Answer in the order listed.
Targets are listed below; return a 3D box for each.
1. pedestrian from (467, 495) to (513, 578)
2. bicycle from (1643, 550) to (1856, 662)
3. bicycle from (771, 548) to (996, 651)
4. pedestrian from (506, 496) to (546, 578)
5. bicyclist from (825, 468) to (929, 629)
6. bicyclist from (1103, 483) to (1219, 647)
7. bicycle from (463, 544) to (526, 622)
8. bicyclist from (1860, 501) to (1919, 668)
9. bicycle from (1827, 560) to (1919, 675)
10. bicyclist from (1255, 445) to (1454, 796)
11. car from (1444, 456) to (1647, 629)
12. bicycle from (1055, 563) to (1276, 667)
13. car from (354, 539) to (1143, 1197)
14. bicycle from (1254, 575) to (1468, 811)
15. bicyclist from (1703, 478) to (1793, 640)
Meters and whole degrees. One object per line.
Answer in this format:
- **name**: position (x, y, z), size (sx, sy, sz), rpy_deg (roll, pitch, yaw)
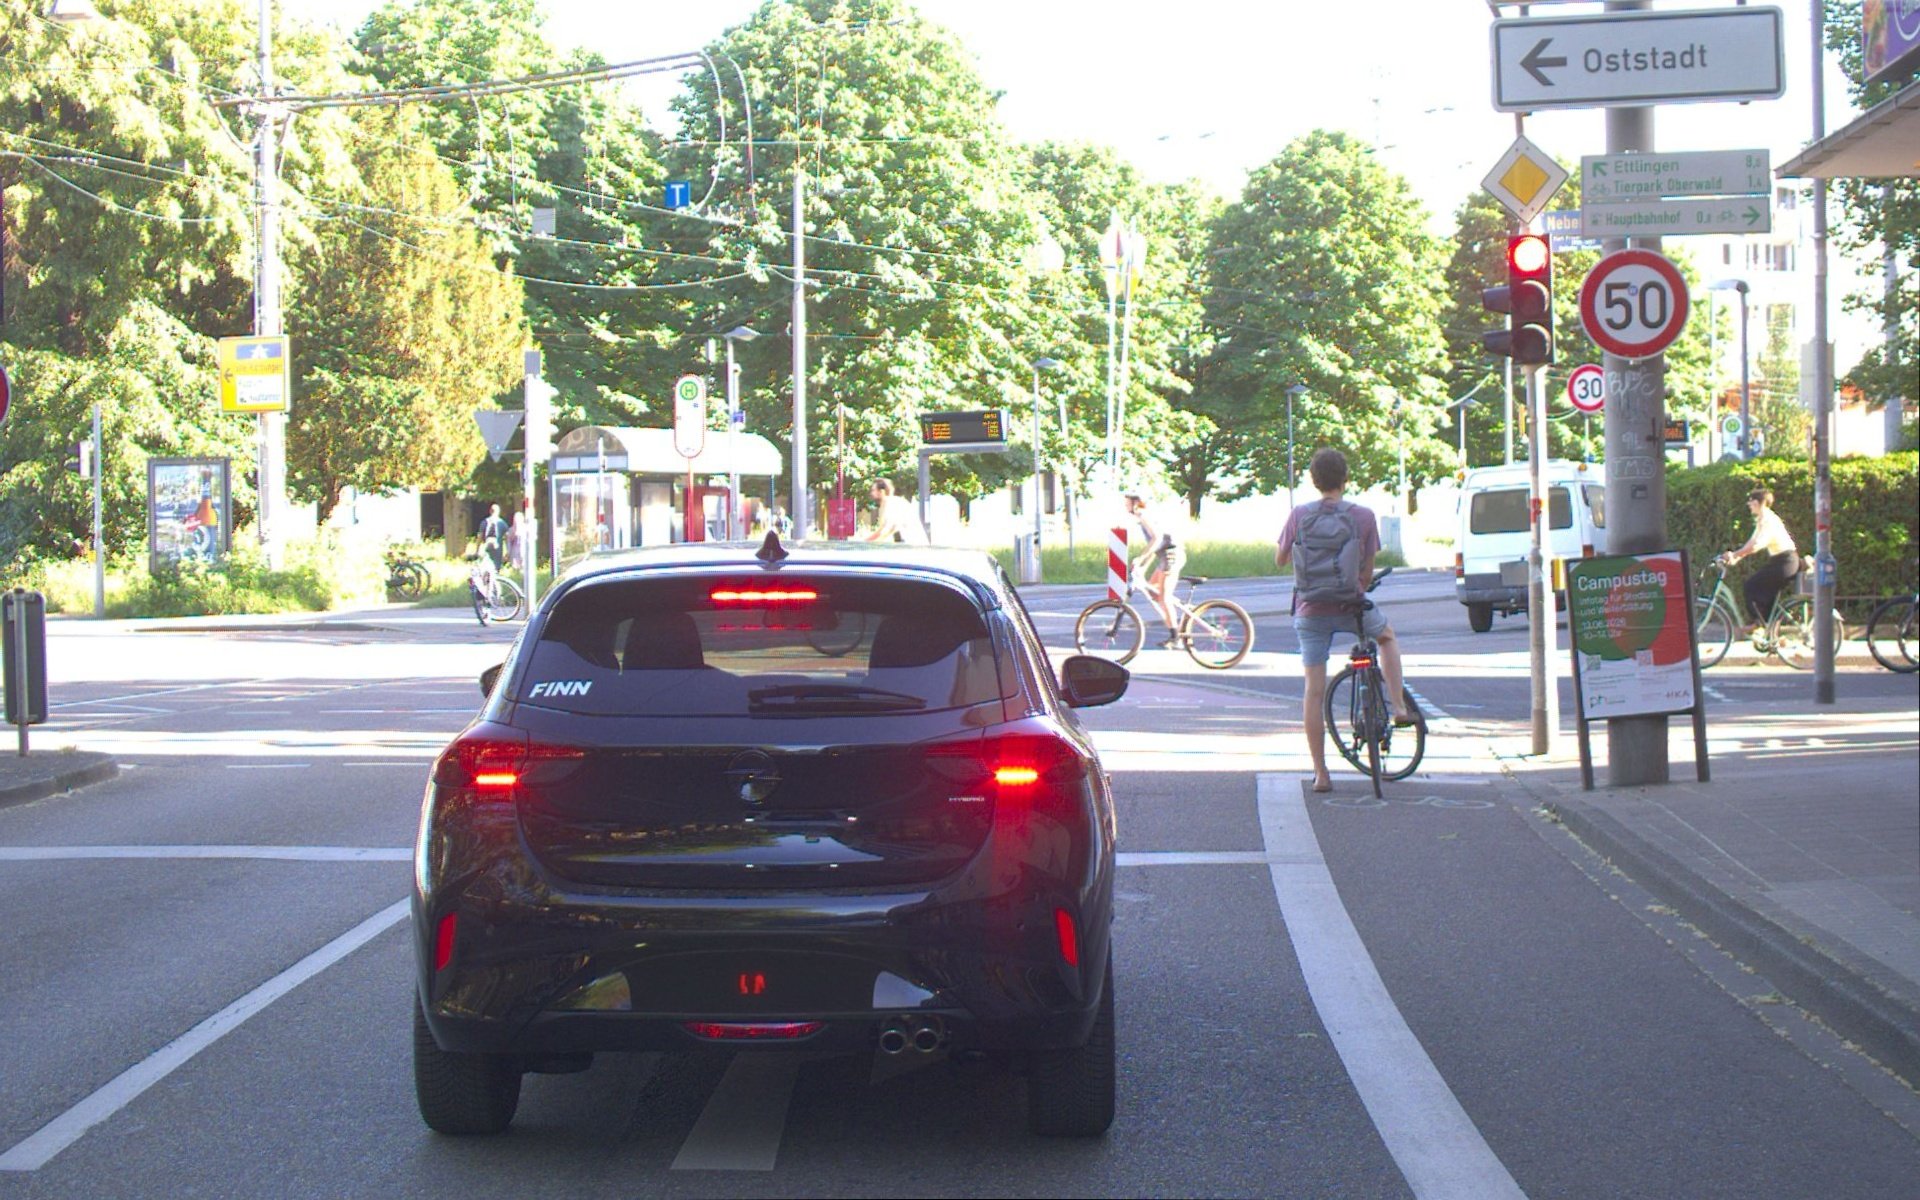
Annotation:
- **pedestrian**: position (-9.378, -1.264, 68.560), size (0.751, 1.624, 0.597), rpy_deg (1, 0, 7)
- **bicycle**: position (7.887, 0.058, 34.366), size (2.056, 1.090, 0.592), rpy_deg (0, 1, 13)
- **bicycle**: position (-0.819, -0.005, 37.038), size (2.294, 1.080, 0.800), rpy_deg (0, 1, 12)
- **pedestrian**: position (-8.646, -1.251, 68.445), size (0.636, 1.624, 0.572), rpy_deg (1, 0, 7)
- **bicyclist**: position (-0.893, -0.559, 37.032), size (0.927, 1.701, 0.875), rpy_deg (0, 1, 12)
- **bicyclist**: position (1.958, -0.341, 33.402), size (1.010, 1.565, 0.799), rpy_deg (0, 1, 11)
- **bicycle**: position (-6.408, -0.240, 47.374), size (0.605, 1.028, 1.982), rpy_deg (-1, 1, 0)
- **bicyclist**: position (9.063, -0.161, 31.832), size (1.112, 1.515, 0.922), rpy_deg (-1, 1, -13)
- **bicycle**: position (9.242, 0.143, 31.880), size (2.190, 1.029, 0.835), rpy_deg (-1, 1, -13)
- **bicyclist**: position (2.126, 0.100, 18.631), size (0.941, 1.845, 0.864), rpy_deg (-1, 1, -1)
- **car**: position (8.117, -0.809, 47.311), size (2.065, 2.241, 4.883), rpy_deg (0, 1, 18)
- **bicycle**: position (1.999, 0.144, 33.388), size (2.059, 0.980, 0.672), rpy_deg (0, 1, 11)
- **car**: position (-0.475, 0.554, 9.655), size (1.727, 1.424, 4.187), rpy_deg (0, 1, 0)
- **bicycle**: position (2.133, 0.464, 18.578), size (0.860, 1.149, 2.172), rpy_deg (-1, 1, -1)
- **bicyclist**: position (7.871, -0.411, 34.341), size (0.861, 1.589, 0.649), rpy_deg (0, 1, 13)
